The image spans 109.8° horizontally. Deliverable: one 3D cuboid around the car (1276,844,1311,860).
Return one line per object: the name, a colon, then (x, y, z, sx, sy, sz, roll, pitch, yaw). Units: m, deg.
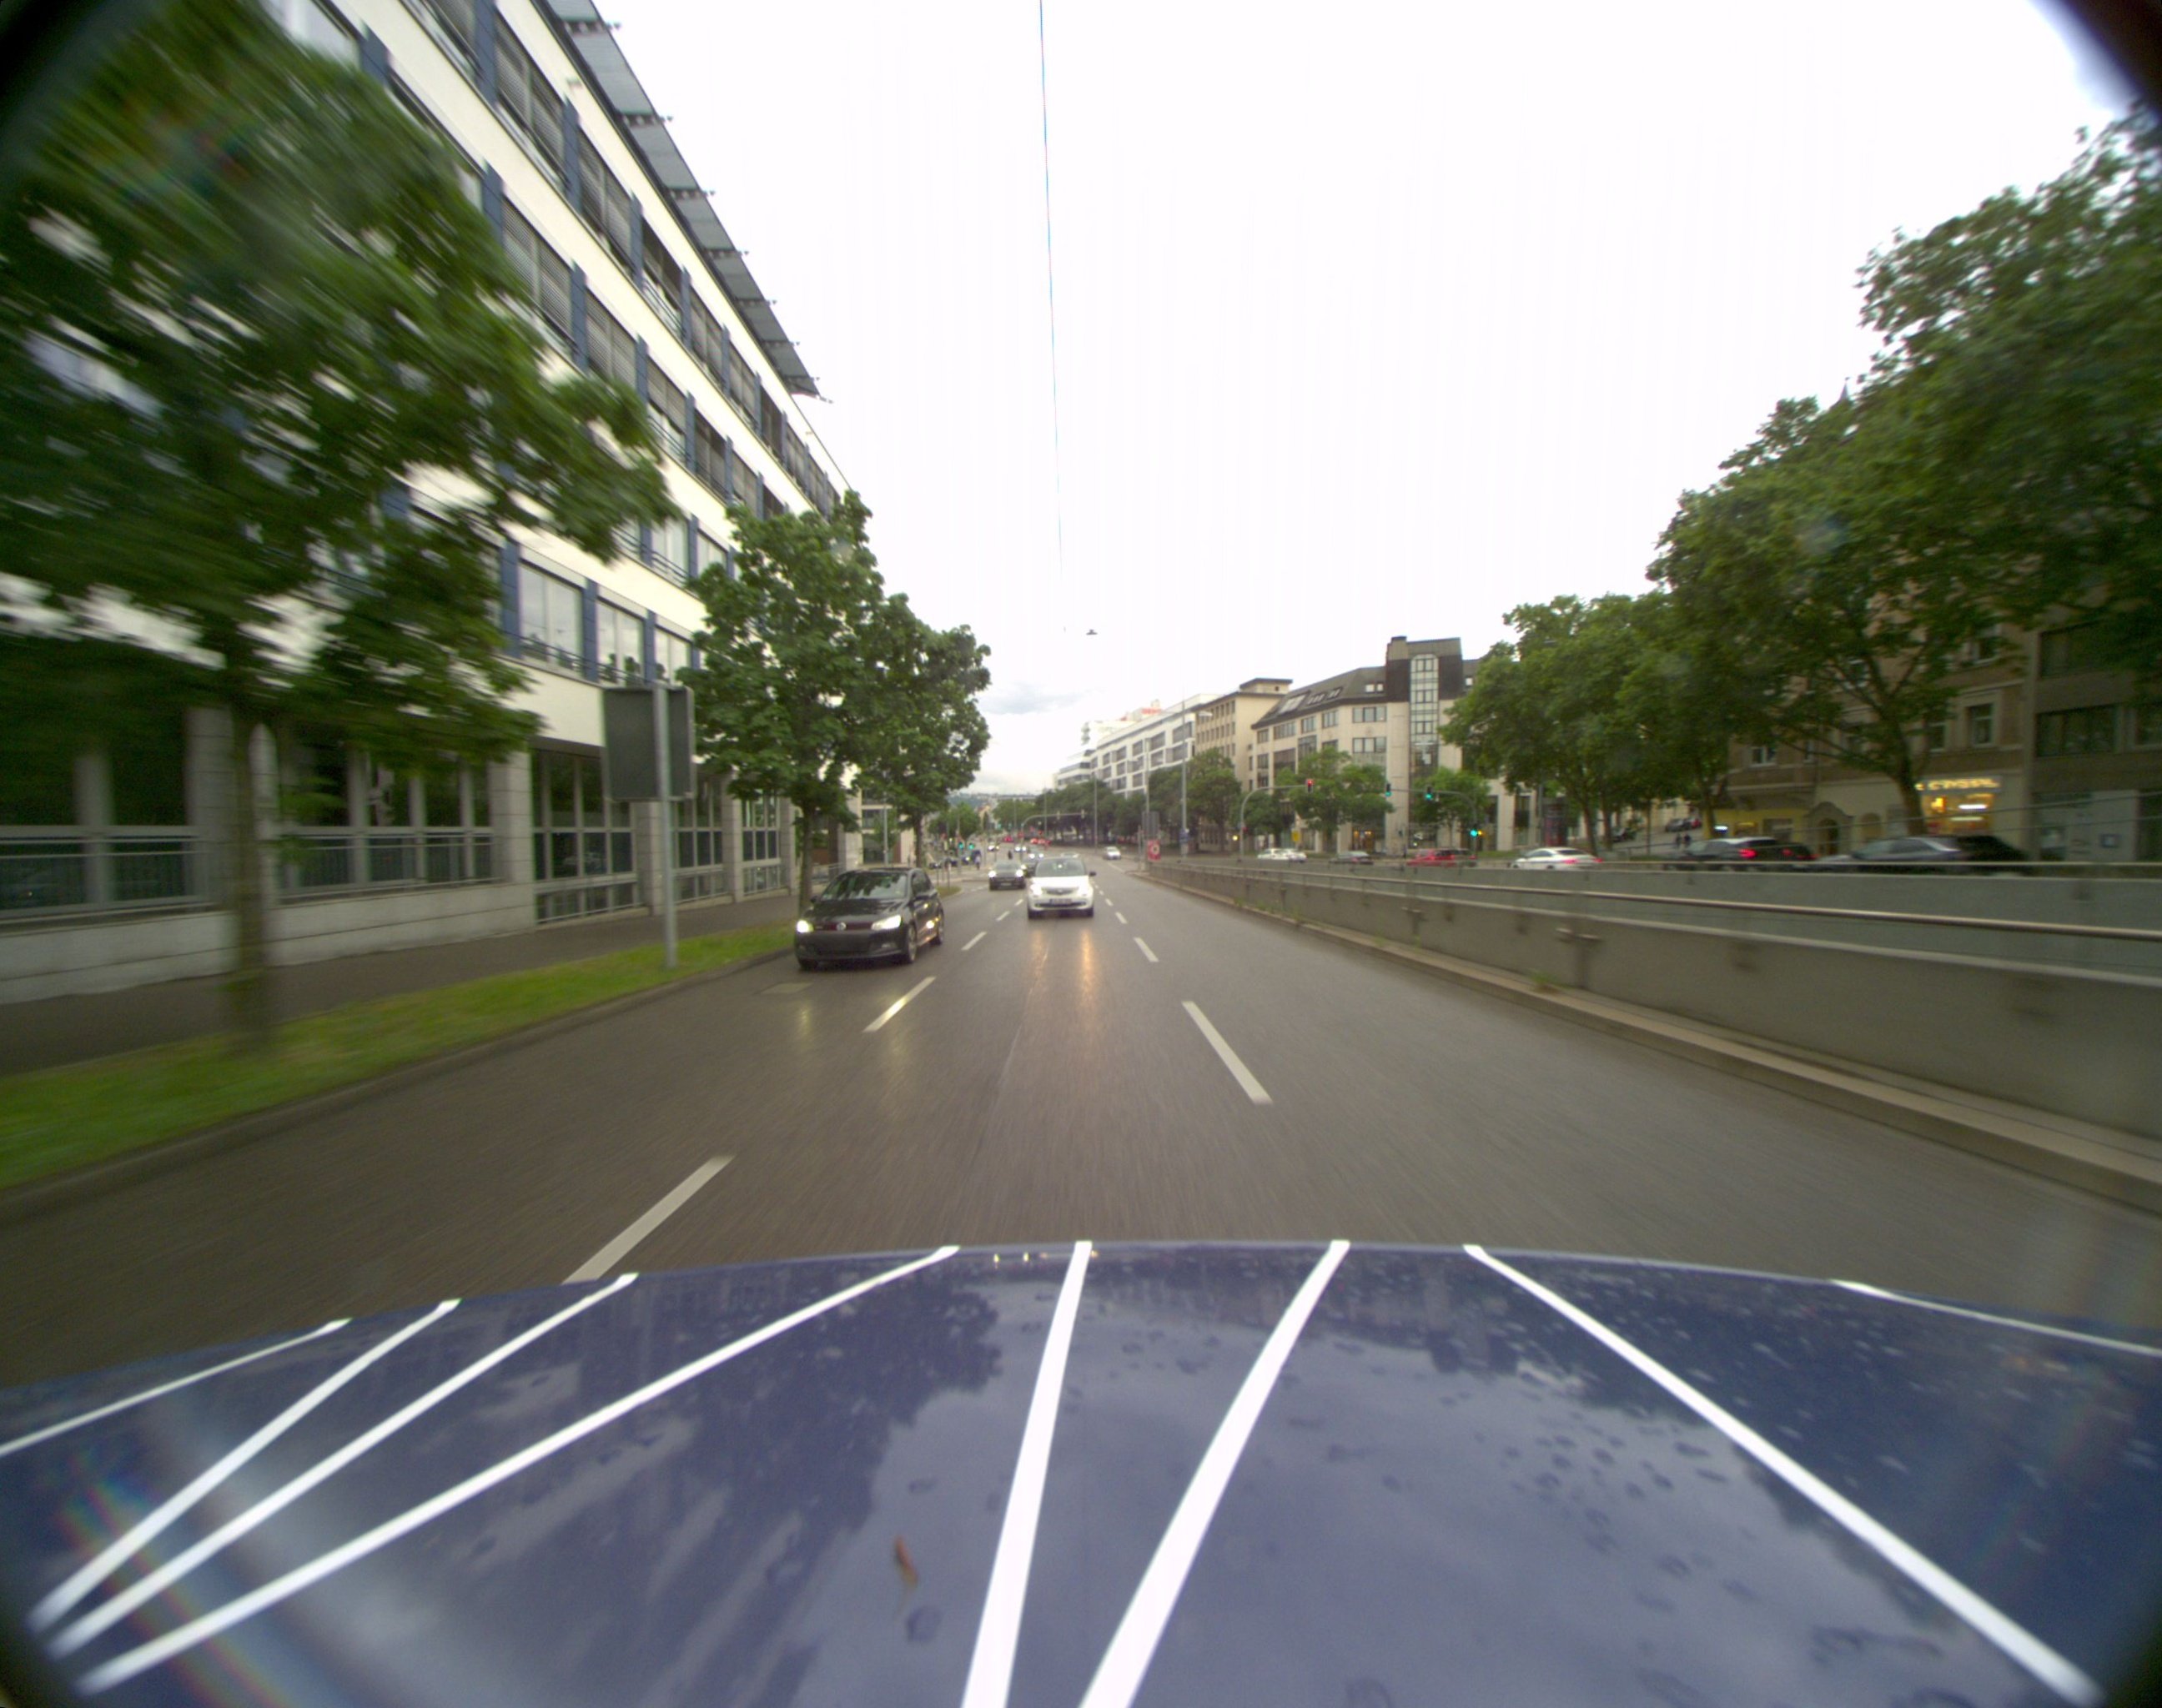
car: (20.903, -0.249, 74.880, 1.800, 1.502, 3.996, -1, 1, -10)

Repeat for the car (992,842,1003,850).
car: (-18.017, -1.749, 164.244, 1.800, 1.502, 3.995, -3, 1, -13)

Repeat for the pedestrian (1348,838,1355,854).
pedestrian: (30.463, -0.908, 85.566, 0.604, 1.774, 0.525, -2, 2, -8)

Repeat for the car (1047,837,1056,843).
car: (-8.448, -4.016, 217.214, 1.800, 1.502, 3.995, -3, 1, -13)

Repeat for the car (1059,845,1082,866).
car: (-0.902, 0.089, 68.537, 1.798, 1.657, 3.999, -4, 1, 1)

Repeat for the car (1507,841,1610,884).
car: (21.347, 0.340, 34.247, 1.798, 1.760, 4.731, -1, 1, 2)

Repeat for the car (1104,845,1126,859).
car: (4.369, -0.223, 99.161, 1.800, 1.733, 3.995, -3, 1, -13)

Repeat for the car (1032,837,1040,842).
car: (-14.059, -4.640, 239.424, 1.800, 1.502, 3.995, -3, 1, -13)

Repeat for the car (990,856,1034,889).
car: (-3.413, 0.908, 38.234, 1.751, 1.433, 3.706, -2, 1, 1)

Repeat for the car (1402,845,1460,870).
car: (21.152, 0.181, 46.093, 1.589, 1.393, 3.879, -1, 1, -2)

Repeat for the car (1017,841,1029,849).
car: (-11.620, -1.829, 153.023, 1.800, 1.502, 3.995, -3, 1, -13)

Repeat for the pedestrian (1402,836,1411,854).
pedestrian: (32.864, -0.909, 76.780, 0.590, 1.799, 0.674, -2, 2, 6)

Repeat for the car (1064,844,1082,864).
car: (-0.891, -0.059, 83.713, 1.799, 2.021, 3.999, -2, 1, -1)

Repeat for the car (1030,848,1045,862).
car: (-6.268, 0.081, 109.006, 1.800, 1.934, 3.996, -3, 1, -8)

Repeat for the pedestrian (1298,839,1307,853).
pedestrian: (27.830, -0.971, 95.434, 0.835, 1.774, 0.615, -2, 2, -8)

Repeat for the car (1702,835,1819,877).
car: (27.391, 0.083, 30.810, 1.699, 1.541, 4.066, -2, 0, 11)

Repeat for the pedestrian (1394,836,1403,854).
pedestrian: (32.149, -0.888, 76.969, 0.590, 1.799, 0.674, -2, 2, 6)

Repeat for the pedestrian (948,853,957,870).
pedestrian: (-12.478, 0.712, 73.944, 0.707, 1.615, 0.644, -2, 2, 1)

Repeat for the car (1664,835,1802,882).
car: (24.424, 0.164, 28.695, 1.798, 1.570, 4.017, -2, 0, 2)

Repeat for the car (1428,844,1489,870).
car: (24.116, 0.160, 48.737, 1.799, 1.502, 3.998, -1, 1, -2)

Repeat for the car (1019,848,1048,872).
car: (-3.661, 0.411, 58.929, 1.798, 1.657, 3.999, -2, 1, 1)

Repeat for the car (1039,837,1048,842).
car: (-11.153, -4.353, 224.513, 1.800, 1.502, 3.995, -3, 1, -13)

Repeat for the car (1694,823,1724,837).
car: (72.767, -2.823, 88.049, 3.497, 1.454, 1.606, -3, 2, -32)

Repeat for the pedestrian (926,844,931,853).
pedestrian: (-23.485, -0.861, 117.356, 0.588, 1.469, 0.603, -3, 2, -22)

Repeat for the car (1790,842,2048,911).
car: (20.819, 0.479, 19.218, 1.798, 1.502, 4.344, -1, 1, 2)

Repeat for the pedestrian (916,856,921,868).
pedestrian: (-20.959, 1.049, 98.134, 0.588, 1.600, 0.603, -3, 2, -14)

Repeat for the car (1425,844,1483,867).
car: (26.737, 0.056, 54.585, 1.800, 1.502, 3.939, -3, 1, -8)

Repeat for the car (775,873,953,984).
car: (-3.277, 1.057, 12.267, 1.678, 1.391, 3.849, -2, 0, 1)

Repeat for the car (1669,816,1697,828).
car: (77.788, -4.131, 98.182, 4.006, 1.502, 1.795, -3, 2, -36)

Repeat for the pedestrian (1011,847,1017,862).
pedestrian: (-8.102, 0.005, 92.166, 0.604, 1.792, 0.587, -2, 2, -8)

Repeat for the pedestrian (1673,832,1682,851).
pedestrian: (57.563, -1.229, 73.343, 0.632, 1.799, 0.675, -1, 2, 42)

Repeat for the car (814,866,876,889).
car: (-19.590, 1.950, 63.289, 4.483, 1.383, 1.855, -4, 3, -2)

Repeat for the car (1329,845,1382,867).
car: (20.250, 0.106, 56.281, 1.799, 1.549, 4.832, -1, 1, -5)

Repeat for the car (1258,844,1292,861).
car: (18.284, -0.149, 71.752, 1.799, 1.552, 3.997, -1, 1, -5)

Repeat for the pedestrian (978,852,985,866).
pedestrian: (-10.597, 0.497, 80.844, 0.588, 1.469, 0.603, -3, 2, -22)

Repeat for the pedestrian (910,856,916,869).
pedestrian: (-21.657, 1.072, 98.042, 0.588, 1.600, 0.603, -3, 2, -14)

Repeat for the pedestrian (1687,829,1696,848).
pedestrian: (58.343, -1.456, 72.651, 0.632, 1.799, 0.675, -1, 2, 42)

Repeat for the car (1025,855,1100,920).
car: (-0.454, 0.816, 20.578, 1.799, 1.528, 3.999, -1, 1, 0)

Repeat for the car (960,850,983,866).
car: (-14.526, 0.517, 101.051, 1.798, 1.851, 4.293, -2, 1, 7)
